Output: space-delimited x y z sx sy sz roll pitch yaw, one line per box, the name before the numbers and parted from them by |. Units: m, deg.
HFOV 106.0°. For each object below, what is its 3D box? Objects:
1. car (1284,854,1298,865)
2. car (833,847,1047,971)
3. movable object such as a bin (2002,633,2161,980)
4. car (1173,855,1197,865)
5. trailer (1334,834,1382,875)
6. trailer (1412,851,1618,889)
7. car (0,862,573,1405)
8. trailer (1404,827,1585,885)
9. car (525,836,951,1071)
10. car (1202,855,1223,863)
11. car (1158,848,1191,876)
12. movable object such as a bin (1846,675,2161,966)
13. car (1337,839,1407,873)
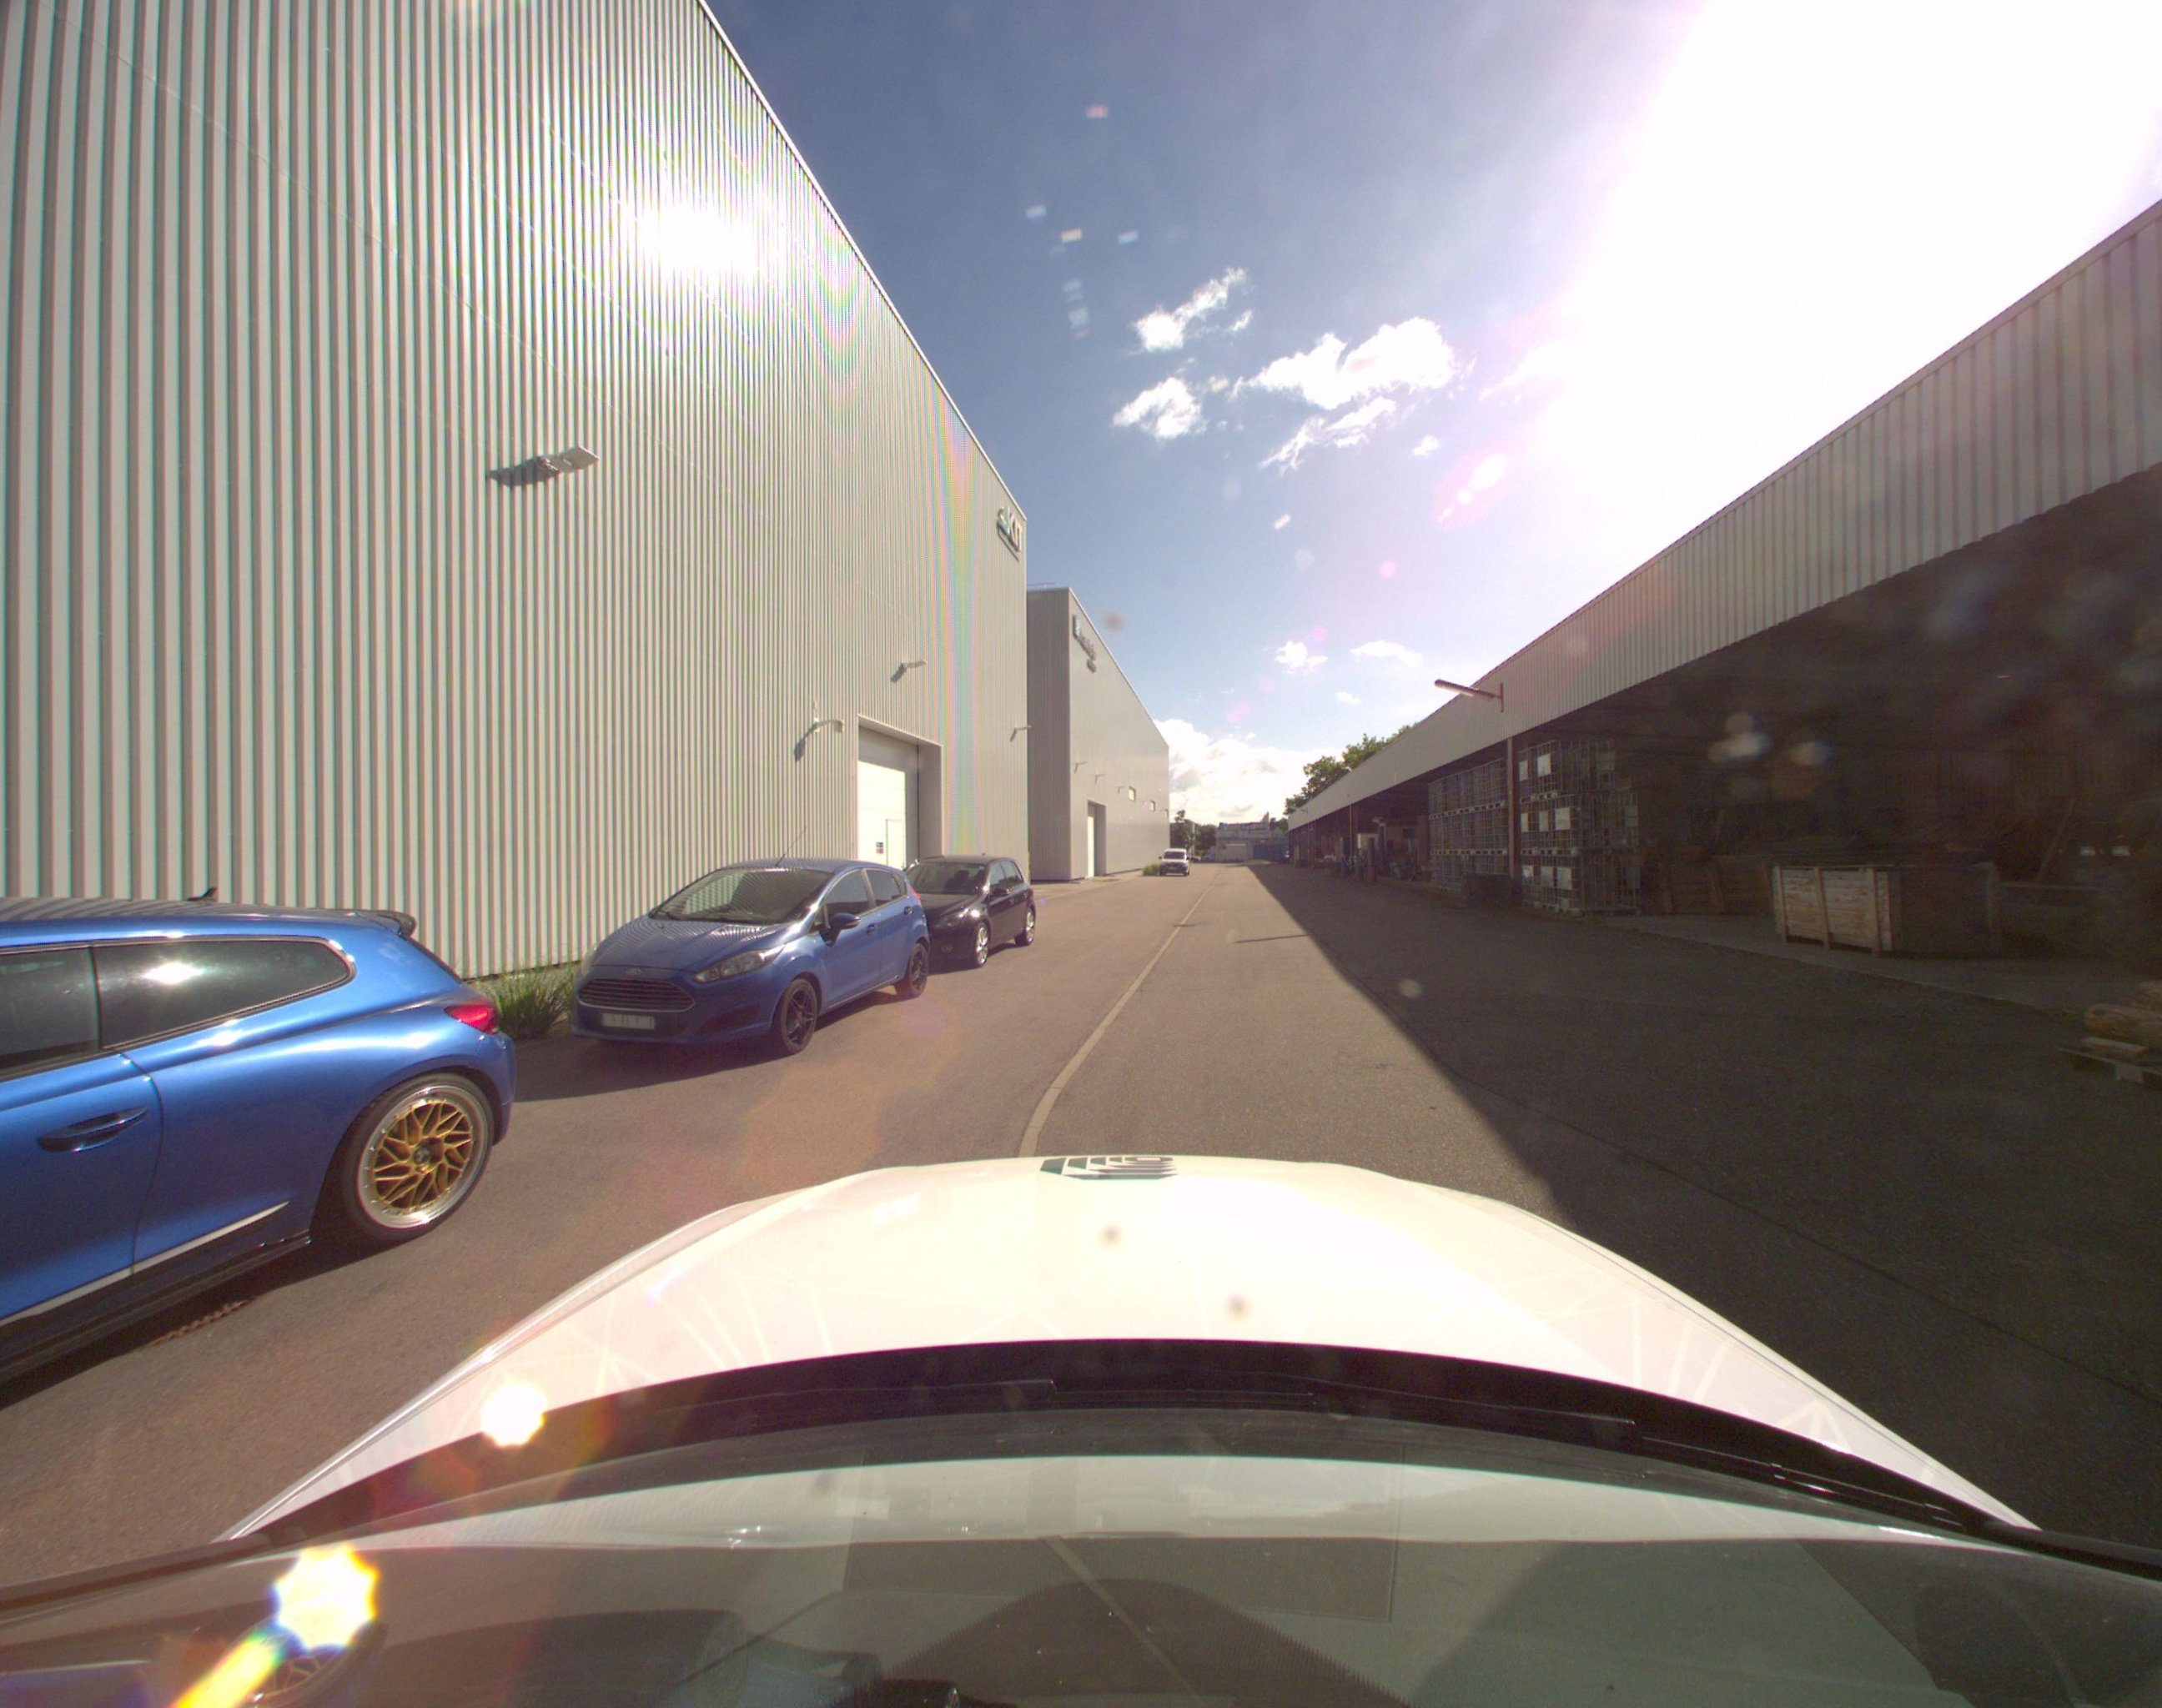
car | 31.236 0.800 121.129 1.949 1.564 4.073 1 1 13
car | -1.885 0.693 12.379 1.743 1.500 4.307 1 0 11
movable object such as a bin | 13.517 -0.438 5.817 9.133 2.910 3.221 -1 0 11
car | 17.416 1.048 136.281 3.963 1.598 1.746 1 -2 9
trailer | 16.671 0.035 49.100 2.507 2.399 1.732 -1 -1 11
trailer | 14.523 0.539 27.605 5.813 1.133 2.147 -1 0 8
car | -3.664 0.724 2.045 1.763 1.360 4.064 0 0 10
trailer | 15.414 0.097 30.718 5.728 2.032 2.084 -1 0 11
car | -2.674 0.658 7.533 1.621 1.500 4.105 2 0 9
car | 26.359 1.021 163.081 3.963 1.598 1.853 1 -2 9
car | 6.290 0.506 54.498 1.807 1.787 4.419 1 0 11
movable object such as a bin | 13.327 -0.355 9.213 6.145 2.910 3.025 -1 0 11
car | 20.440 0.143 57.373 4.404 2.310 1.921 1 -2 11
